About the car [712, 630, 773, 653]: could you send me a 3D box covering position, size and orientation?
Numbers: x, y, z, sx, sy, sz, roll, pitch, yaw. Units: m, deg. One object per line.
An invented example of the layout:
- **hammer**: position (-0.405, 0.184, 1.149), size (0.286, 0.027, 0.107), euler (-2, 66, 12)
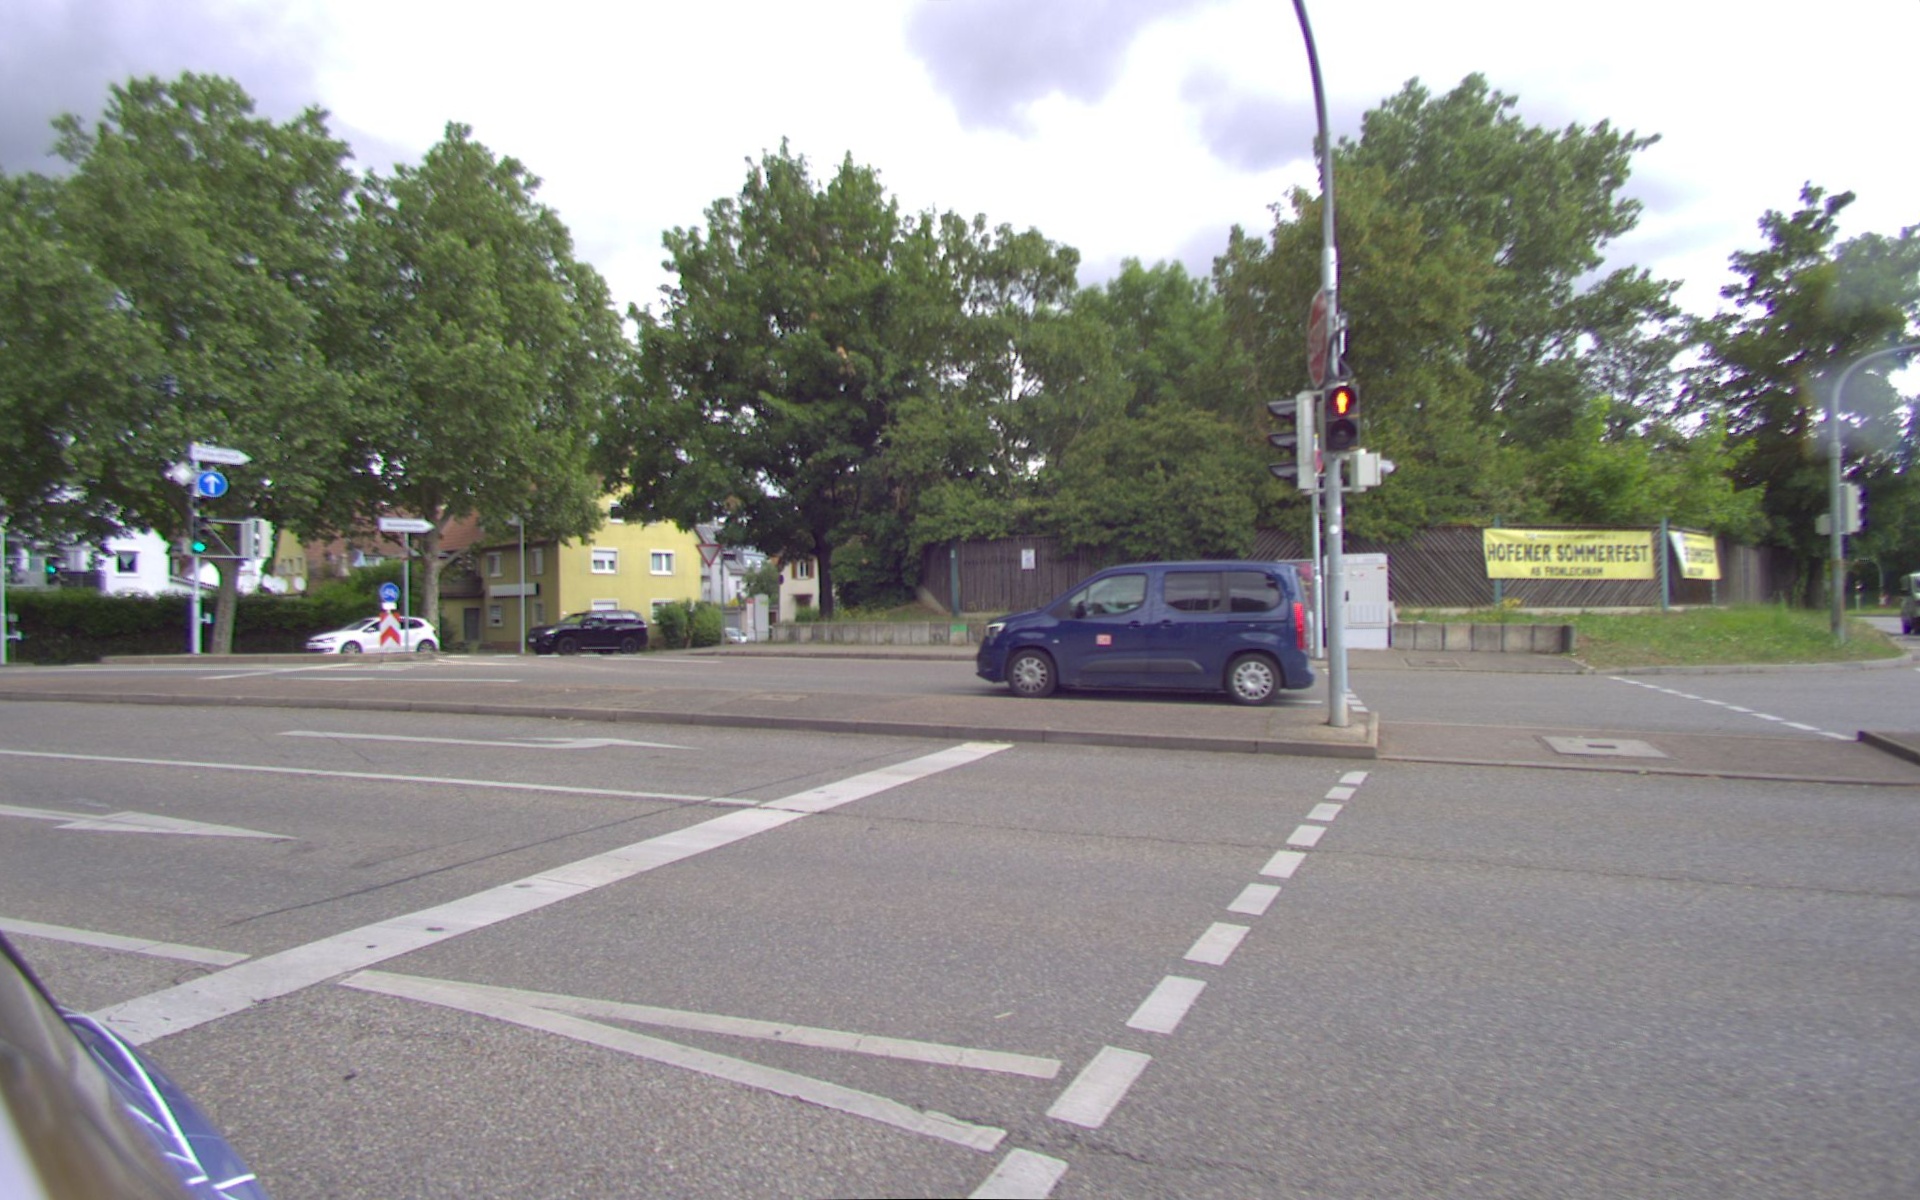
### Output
- **car**: position (-13.261, 2.517, 61.595), size (3.804, 1.352, 1.708), euler (-2, -1, 40)

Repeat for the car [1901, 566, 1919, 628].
- **car**: position (30.156, -0.111, 30.766), size (1.807, 1.839, 3.950), euler (-2, -1, 37)

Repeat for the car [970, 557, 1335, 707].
- **car**: position (2.516, 0.370, 13.237), size (4.443, 1.718, 1.819), euler (0, 1, 21)

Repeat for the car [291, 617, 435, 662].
- **car**: position (-19.907, 1.301, 33.876), size (1.807, 1.330, 3.760), euler (-2, -1, 34)

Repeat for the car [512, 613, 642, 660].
- **car**: position (-15.132, 1.416, 40.150), size (1.811, 1.665, 4.530), euler (-2, -1, 40)
